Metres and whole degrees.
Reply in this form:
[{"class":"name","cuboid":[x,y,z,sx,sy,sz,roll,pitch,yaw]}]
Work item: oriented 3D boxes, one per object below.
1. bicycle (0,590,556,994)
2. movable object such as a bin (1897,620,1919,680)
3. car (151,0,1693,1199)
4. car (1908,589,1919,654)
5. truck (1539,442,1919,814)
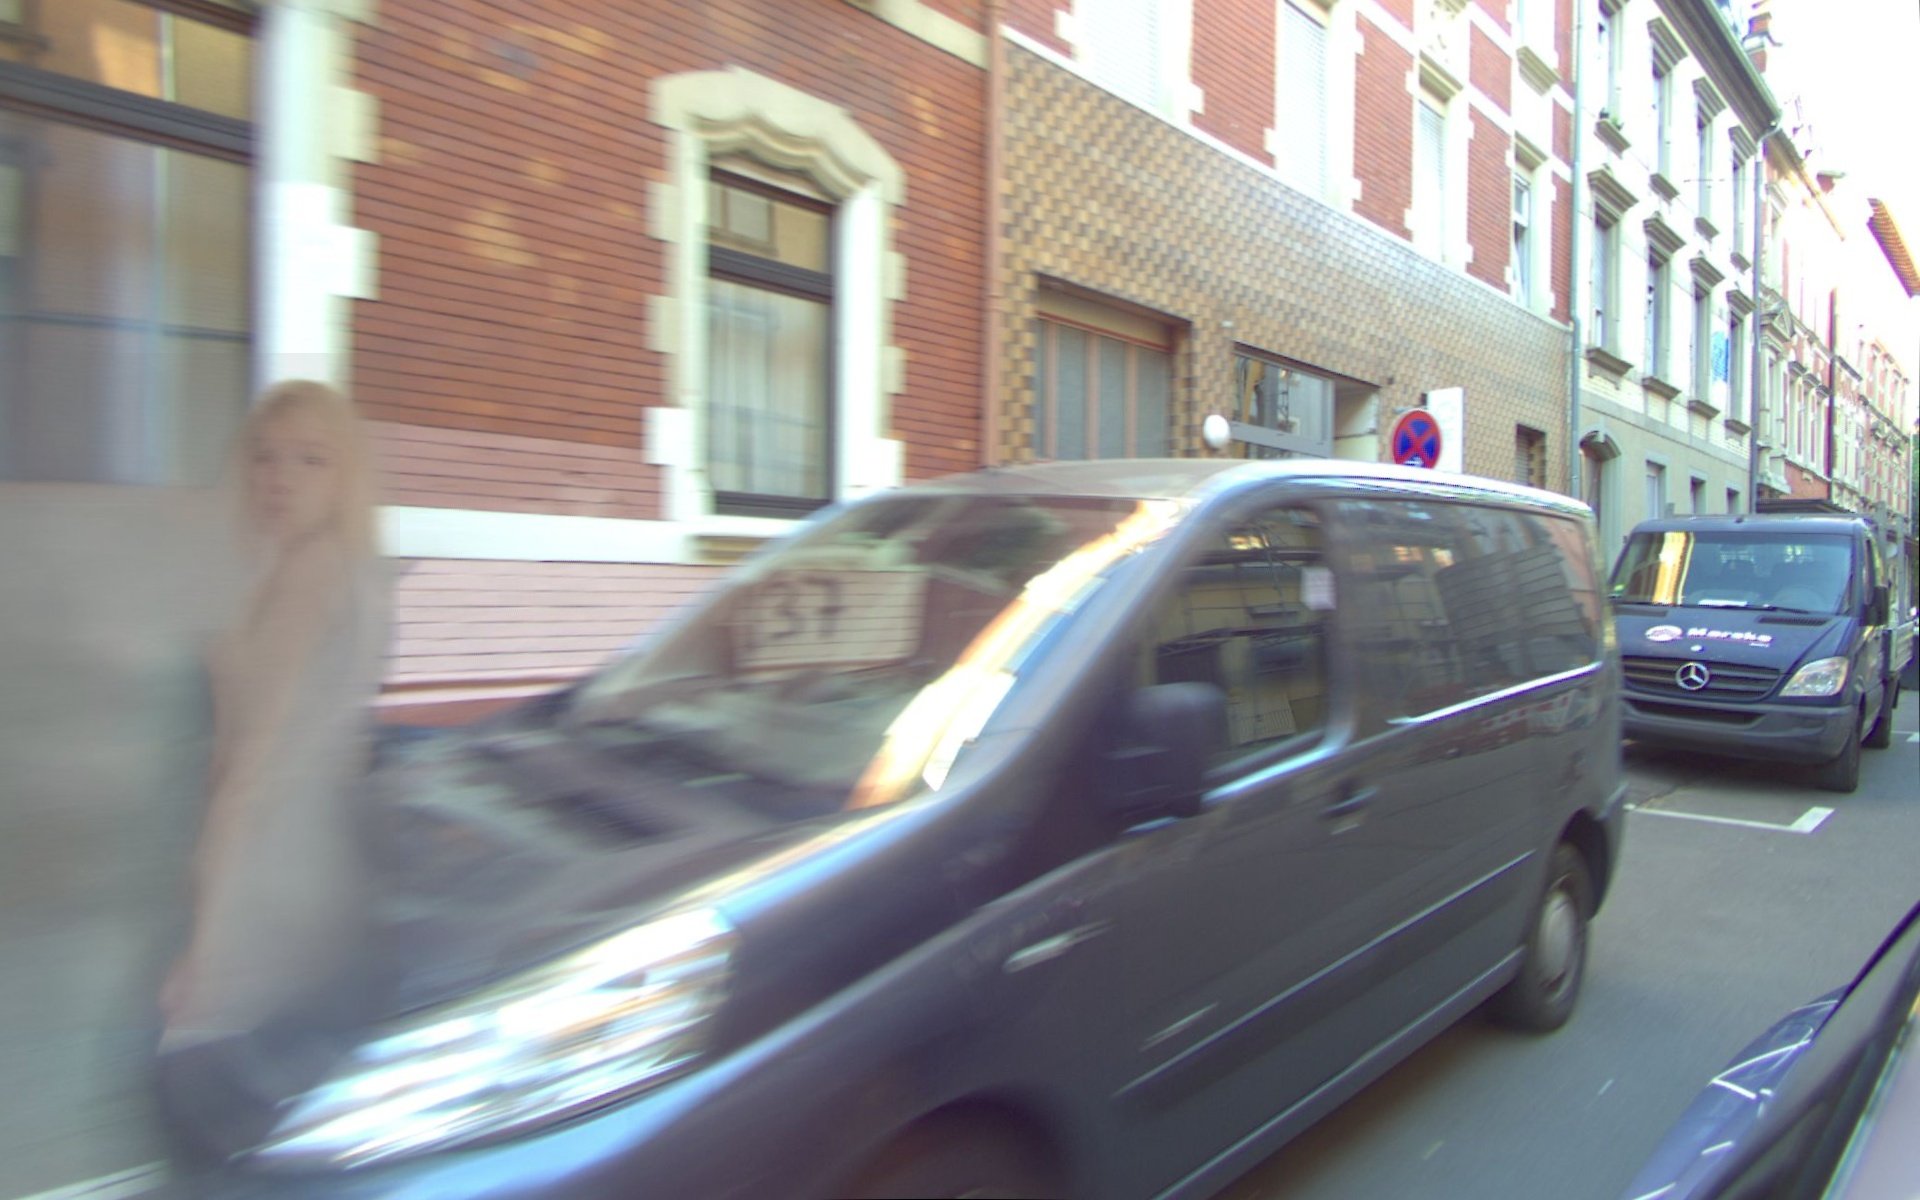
[{"class":"bicycle","cuboid":[-2.690,0.608,3.941,1.957,1.237,0.670,-1,4,-41]},{"class":"movable object such as a bin","cuboid":[17.584,0.913,18.370,0.675,1.070,0.742,0,1,-41]},{"class":"car","cuboid":[0.480,0.465,3.057,4.497,2.009,1.847,0,-1,-42]},{"class":"car","cuboid":[25.098,0.603,25.329,3.403,1.552,1.526,0,6,-41]},{"class":"truck","cuboid":[8.125,0.111,10.191,6.149,2.689,2.152,0,5,-44]}]
